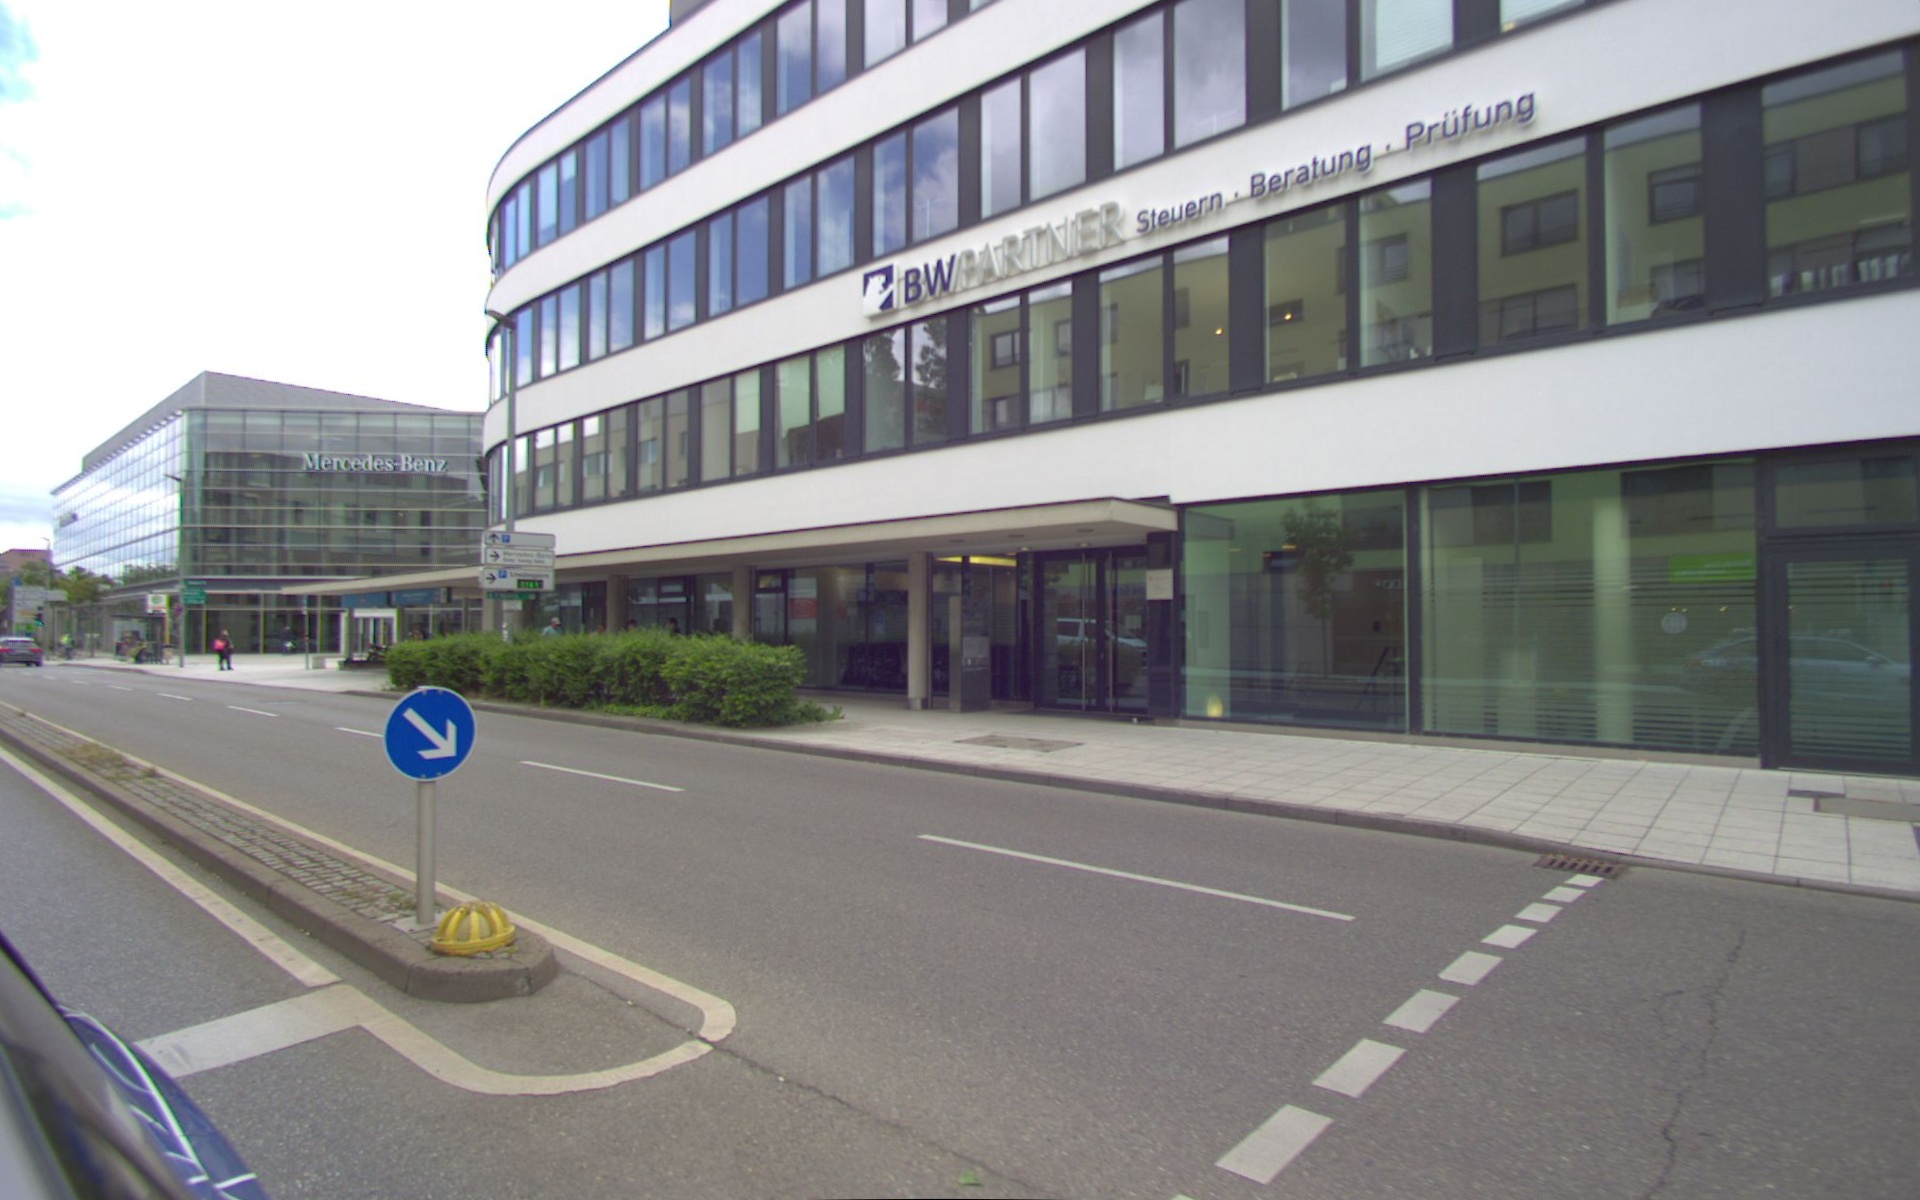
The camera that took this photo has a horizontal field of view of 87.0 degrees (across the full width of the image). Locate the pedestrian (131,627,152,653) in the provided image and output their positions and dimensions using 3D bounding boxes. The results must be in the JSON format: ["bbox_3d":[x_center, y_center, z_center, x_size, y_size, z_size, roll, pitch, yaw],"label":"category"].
[{"bbox_3d":[-41.176,2.017,50.934,0.576,1.330,0.677,-2,-4,40],"label":"pedestrian"}]

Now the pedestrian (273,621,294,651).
[{"bbox_3d":[-44.819,2.394,67.044,0.740,1.960,0.902,-1,-1,3],"label":"pedestrian"}]

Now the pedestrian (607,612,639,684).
[{"bbox_3d":[-8.222,1.161,24.693,0.501,1.723,0.613,0,-2,11],"label":"pedestrian"}]

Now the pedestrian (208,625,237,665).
[{"bbox_3d":[-29.718,1.804,40.788,0.820,1.579,0.814,-1,-1,-43],"label":"pedestrian"}]

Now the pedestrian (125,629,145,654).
[{"bbox_3d":[-42.162,2.138,51.730,0.576,1.263,0.677,-2,-3,40],"label":"pedestrian"}]

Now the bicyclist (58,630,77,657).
[{"bbox_3d":[-56.539,2.749,64.104,0.771,1.661,0.640,-2,0,-33],"label":"bicyclist"}]

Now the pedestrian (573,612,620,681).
[{"bbox_3d":[-8.881,1.122,24.729,0.931,1.625,0.722,-2,-1,43],"label":"pedestrian"}]

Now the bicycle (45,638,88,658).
[{"bbox_3d":[-56.558,3.027,64.086,1.973,1.139,0.640,-2,0,-33],"label":"bicycle"}]

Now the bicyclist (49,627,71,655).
[{"bbox_3d":[-58.669,2.662,65.986,0.762,1.813,0.748,-2,0,-4],"label":"bicyclist"}]

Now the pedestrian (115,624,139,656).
[{"bbox_3d":[-42.788,2.047,51.981,0.568,1.644,0.686,0,-2,1],"label":"pedestrian"}]

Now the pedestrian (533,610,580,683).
[{"bbox_3d":[-9.754,1.109,24.464,0.931,1.686,0.722,-2,-1,43],"label":"pedestrian"}]

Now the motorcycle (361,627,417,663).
[{"bbox_3d":[-23.023,1.785,40.840,0.636,1.343,1.833,-2,0,45],"label":"motorcycle"}]

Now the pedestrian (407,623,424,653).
[{"bbox_3d":[-36.502,2.559,67.803,0.747,1.960,0.680,-1,-1,29],"label":"pedestrian"}]

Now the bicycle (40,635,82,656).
[{"bbox_3d":[-58.630,2.967,65.987,2.000,1.215,0.748,-2,0,-4],"label":"bicycle"}]

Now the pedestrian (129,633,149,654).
[{"bbox_3d":[-41.676,2.208,51.373,0.576,1.084,0.677,-2,-4,40],"label":"pedestrian"}]

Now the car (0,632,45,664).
[{"bbox_3d":[-47.099,2.369,50.357,4.470,1.426,1.876,-2,0,42],"label":"car"}]

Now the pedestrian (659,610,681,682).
[{"bbox_3d":[-7.152,1.122,24.942,0.497,1.743,0.617,0,-2,-17],"label":"pedestrian"}]
